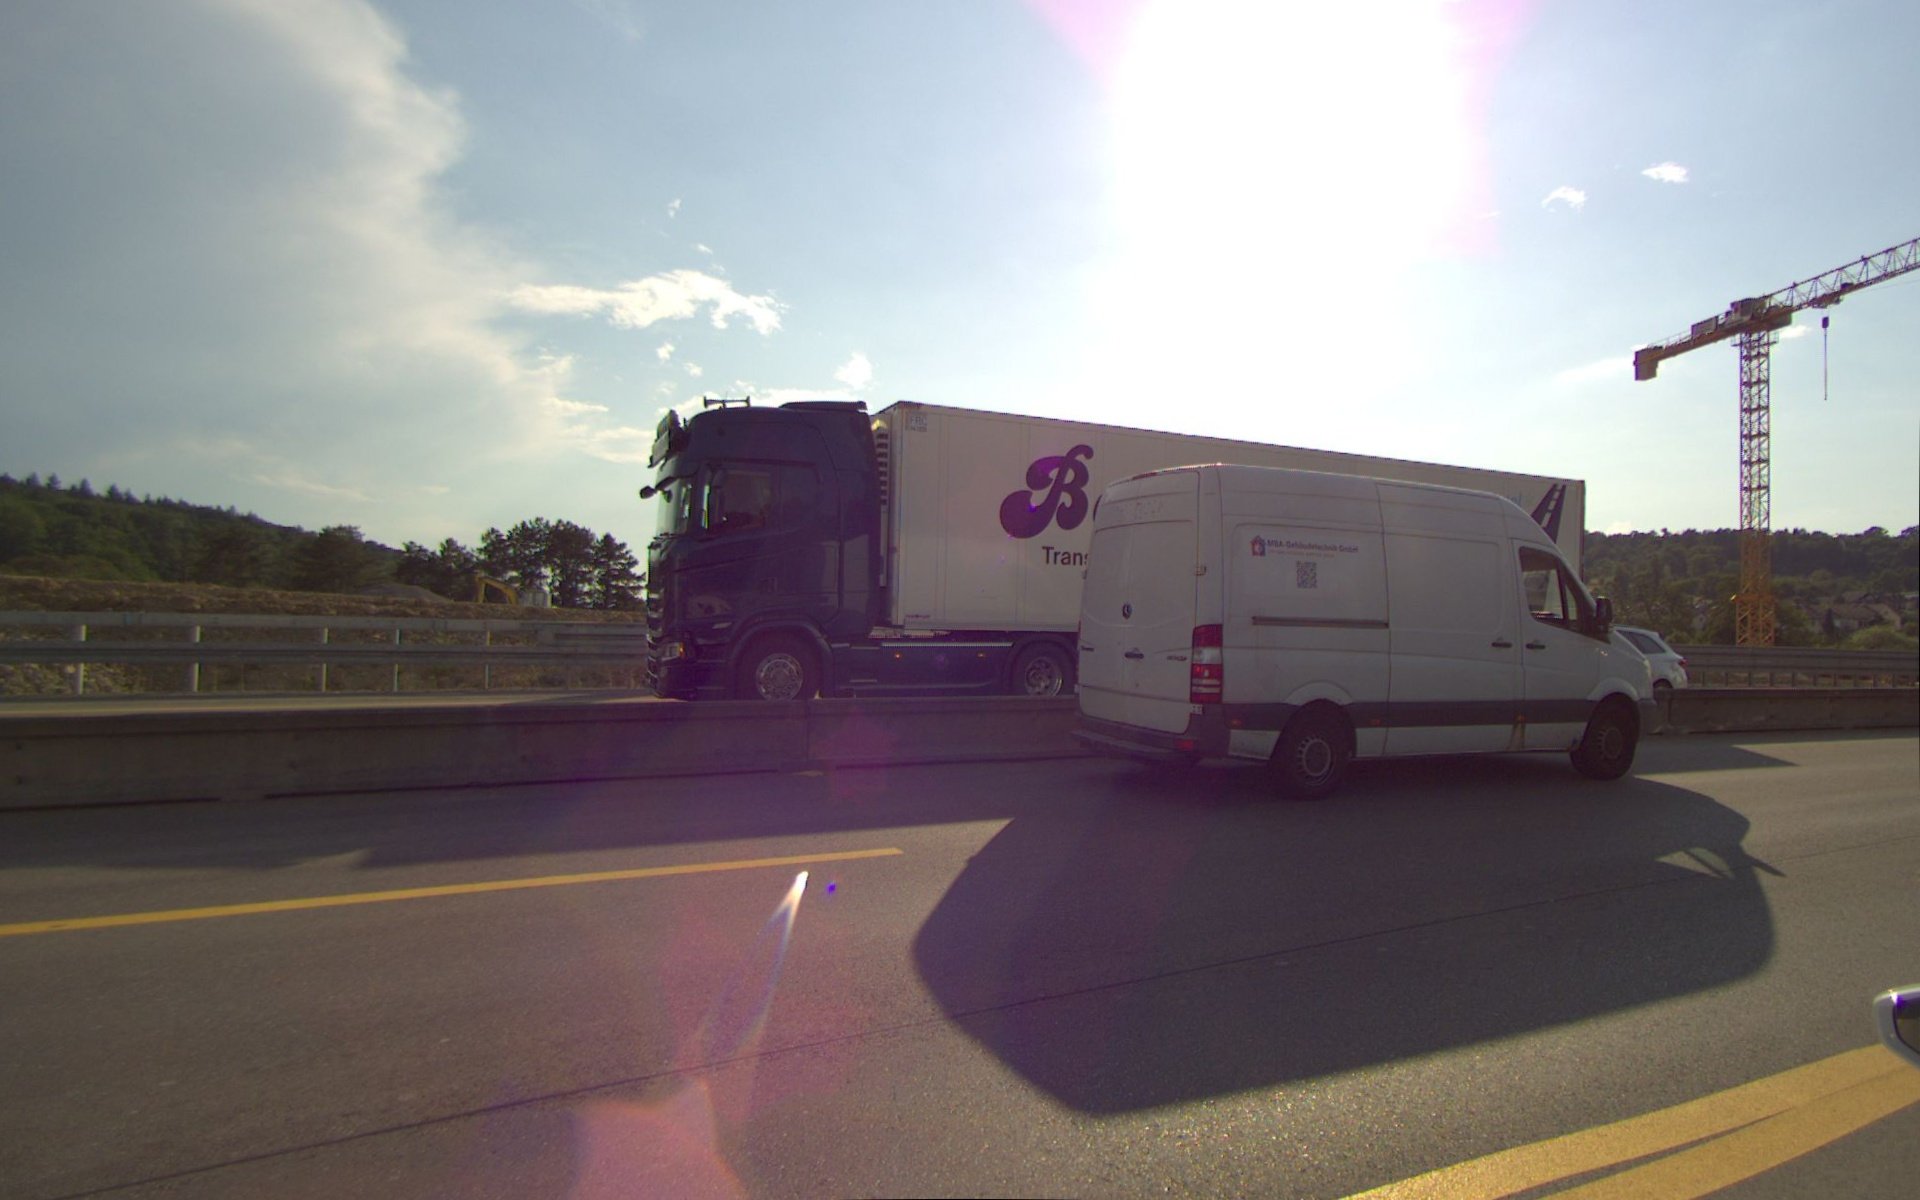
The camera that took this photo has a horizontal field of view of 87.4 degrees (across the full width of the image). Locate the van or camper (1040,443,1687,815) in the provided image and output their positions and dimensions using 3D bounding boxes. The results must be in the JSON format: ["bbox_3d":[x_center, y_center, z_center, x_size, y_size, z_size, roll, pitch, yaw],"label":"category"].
[{"bbox_3d":[3.799,0.309,9.252,5.821,2.654,1.989,2,-1,-24],"label":"van or camper"}]

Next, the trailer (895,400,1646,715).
[{"bbox_3d":[5.885,-0.285,17.093,13.882,4.119,2.621,2,-3,-24],"label":"trailer"}]

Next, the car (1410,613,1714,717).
[{"bbox_3d":[9.126,0.972,15.205,4.395,1.383,1.901,2,-3,-26],"label":"car"}]

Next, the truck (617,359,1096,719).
[{"bbox_3d":[-1.412,-0.559,13.881,6.044,4.119,2.622,2,-3,-24],"label":"truck"}]
